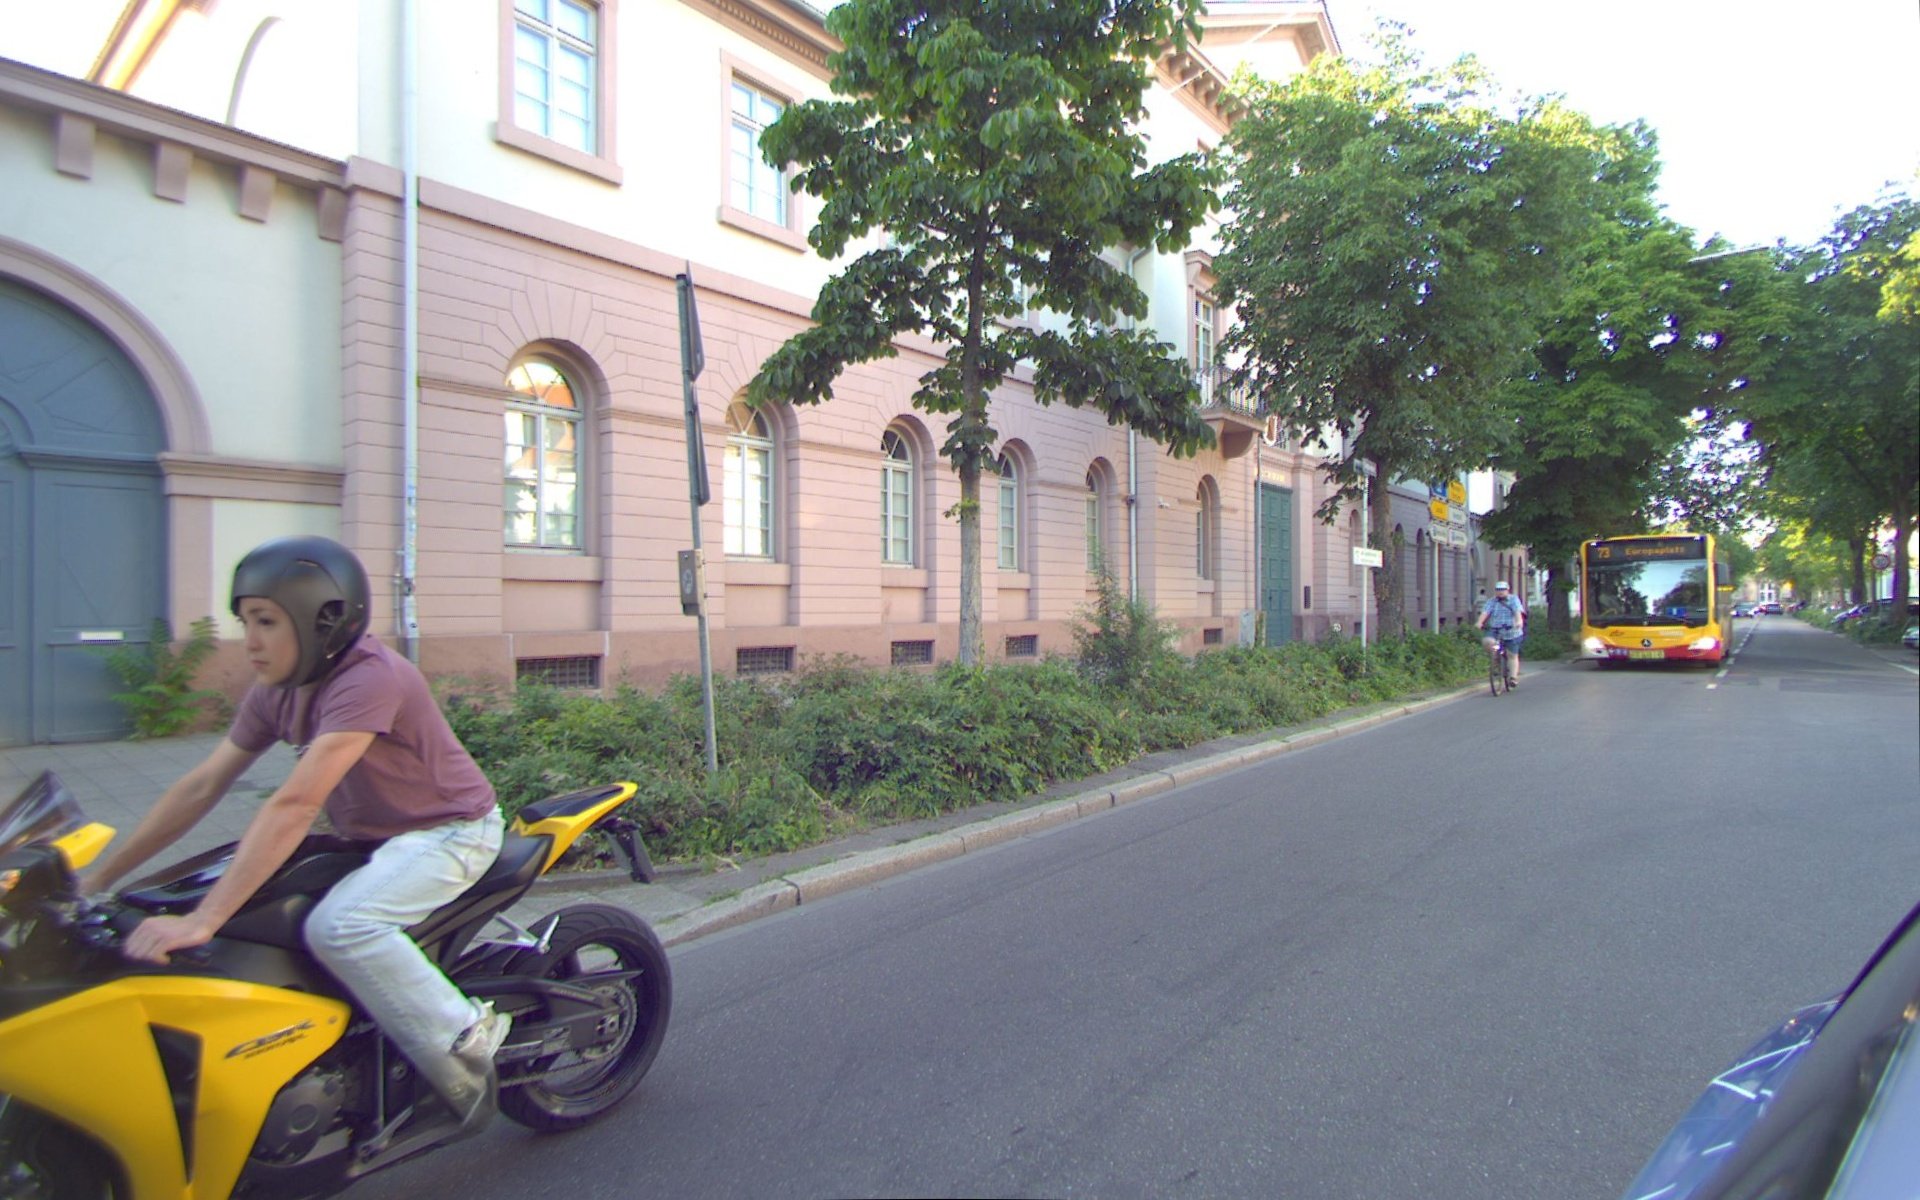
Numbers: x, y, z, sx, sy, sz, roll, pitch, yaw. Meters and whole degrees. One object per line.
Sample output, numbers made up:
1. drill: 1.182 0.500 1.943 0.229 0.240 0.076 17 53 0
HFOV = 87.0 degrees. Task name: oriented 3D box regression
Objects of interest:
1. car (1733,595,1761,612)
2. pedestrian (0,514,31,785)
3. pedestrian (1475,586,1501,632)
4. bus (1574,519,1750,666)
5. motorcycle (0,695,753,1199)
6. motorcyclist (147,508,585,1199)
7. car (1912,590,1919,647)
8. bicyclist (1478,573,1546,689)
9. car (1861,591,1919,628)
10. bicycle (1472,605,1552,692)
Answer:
1. car: 79.455 0.313 102.113 2.074 1.719 3.941 0 0 41
2. pedestrian: -7.120 0.325 6.867 0.797 1.862 1.068 2 1 38
3. pedestrian: 21.593 0.365 41.349 0.796 1.855 0.917 0 -1 37
4. bus: 18.585 -0.130 26.335 2.699 3.039 11.909 -3 -2 39
5. motorcycle: -1.506 0.906 2.454 0.788 1.175 1.941 -2 -1 36
6. motorcyclist: -1.474 0.544 2.521 0.788 1.438 0.690 -2 -2 37
7. car: 29.037 0.520 27.821 3.979 1.635 1.700 0 0 38
8. bicyclist: 9.186 0.513 16.843 0.780 1.863 0.815 -3 -2 39
9. car: 42.905 0.406 45.070 3.979 1.635 1.700 0 0 38
10. bicycle: 9.235 0.781 16.891 0.780 1.347 2.048 -3 -2 39
